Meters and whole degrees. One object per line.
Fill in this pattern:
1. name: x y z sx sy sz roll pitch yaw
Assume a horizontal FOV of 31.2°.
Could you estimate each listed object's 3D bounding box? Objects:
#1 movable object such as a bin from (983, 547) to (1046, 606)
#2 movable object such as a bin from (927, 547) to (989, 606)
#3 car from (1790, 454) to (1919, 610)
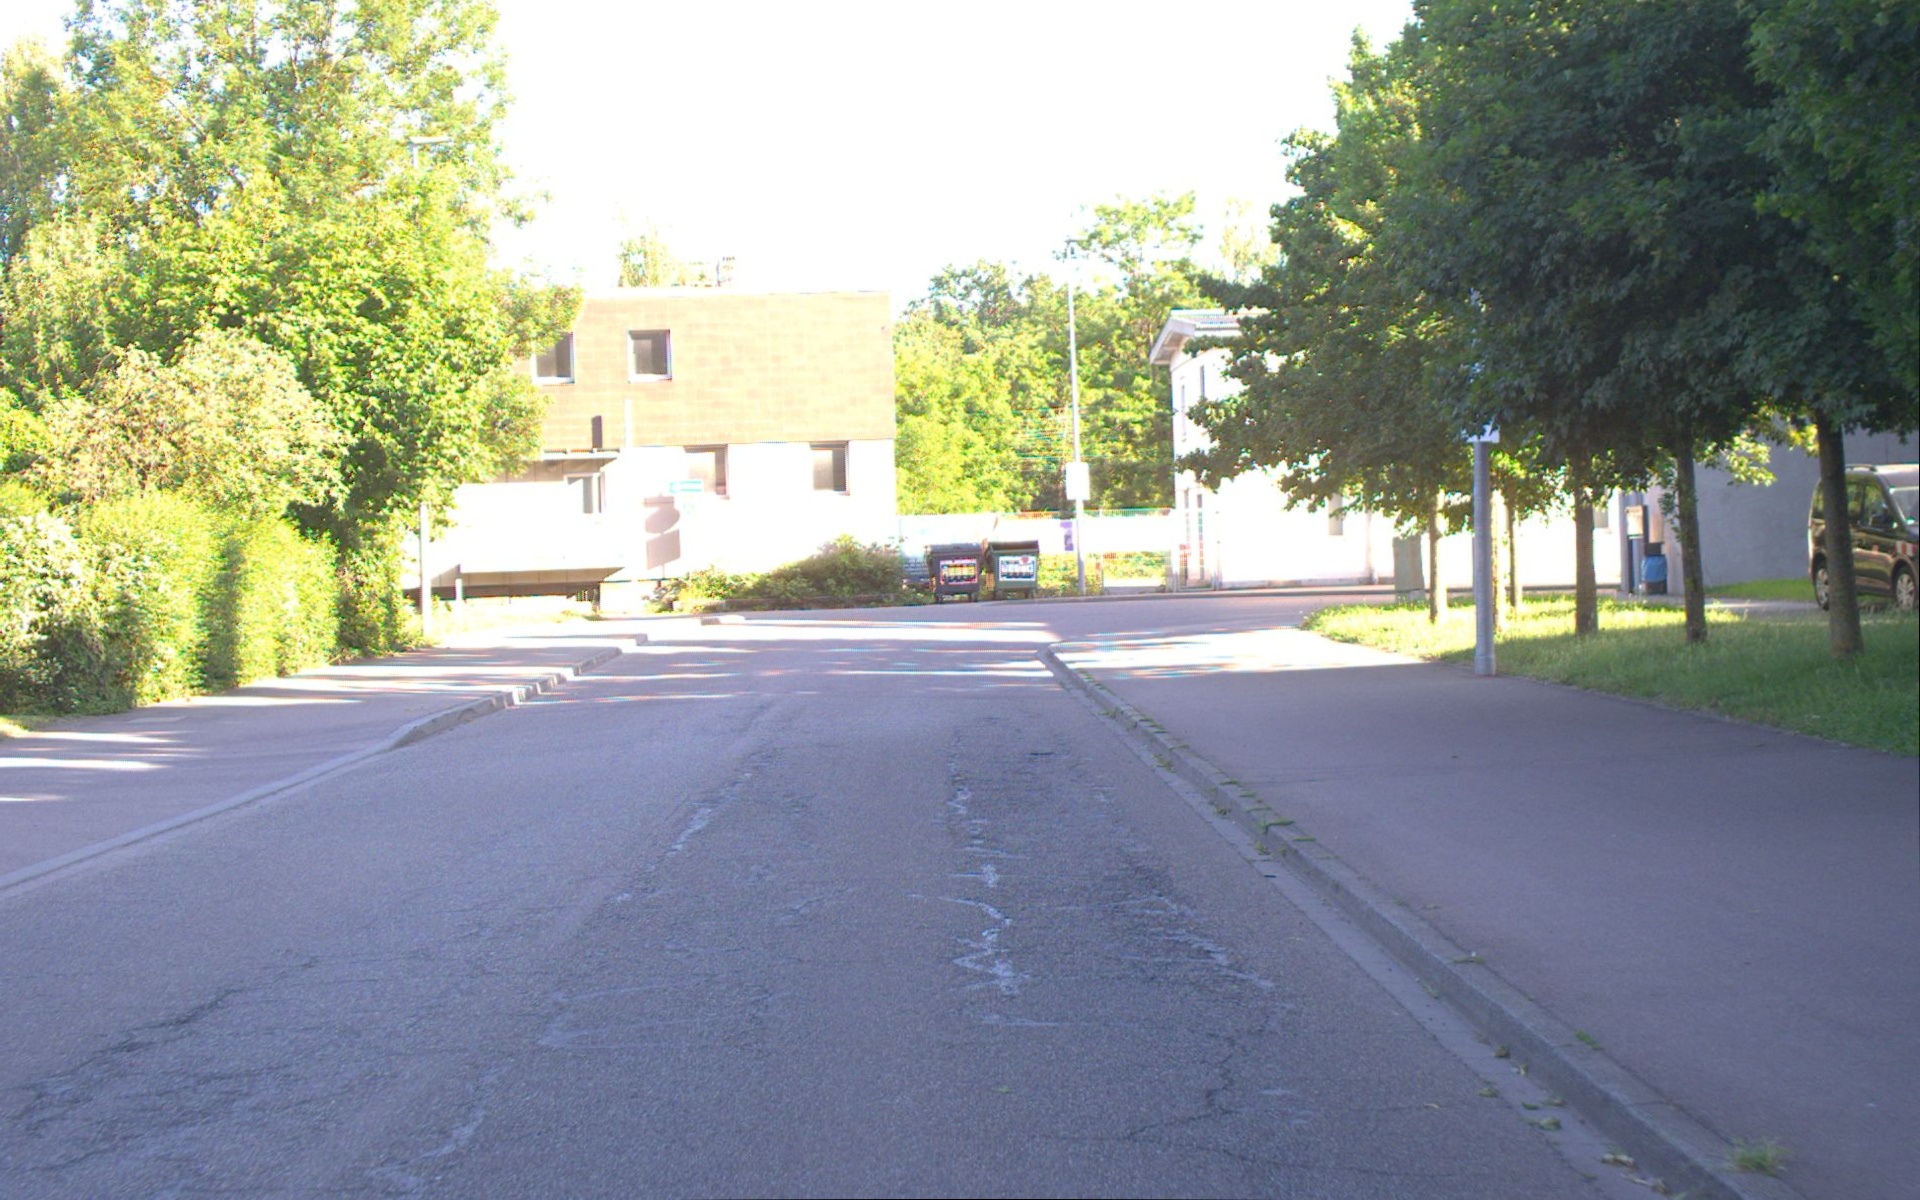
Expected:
1. movable object such as a bin: 1.309 -0.554 83.007 1.364 1.413 1.066 0 0 -7
2. movable object such as a bin: -0.048 -0.554 82.665 1.364 1.413 1.066 0 0 -7
3. car: 11.832 -0.794 42.066 1.835 1.808 4.667 0 0 -5
